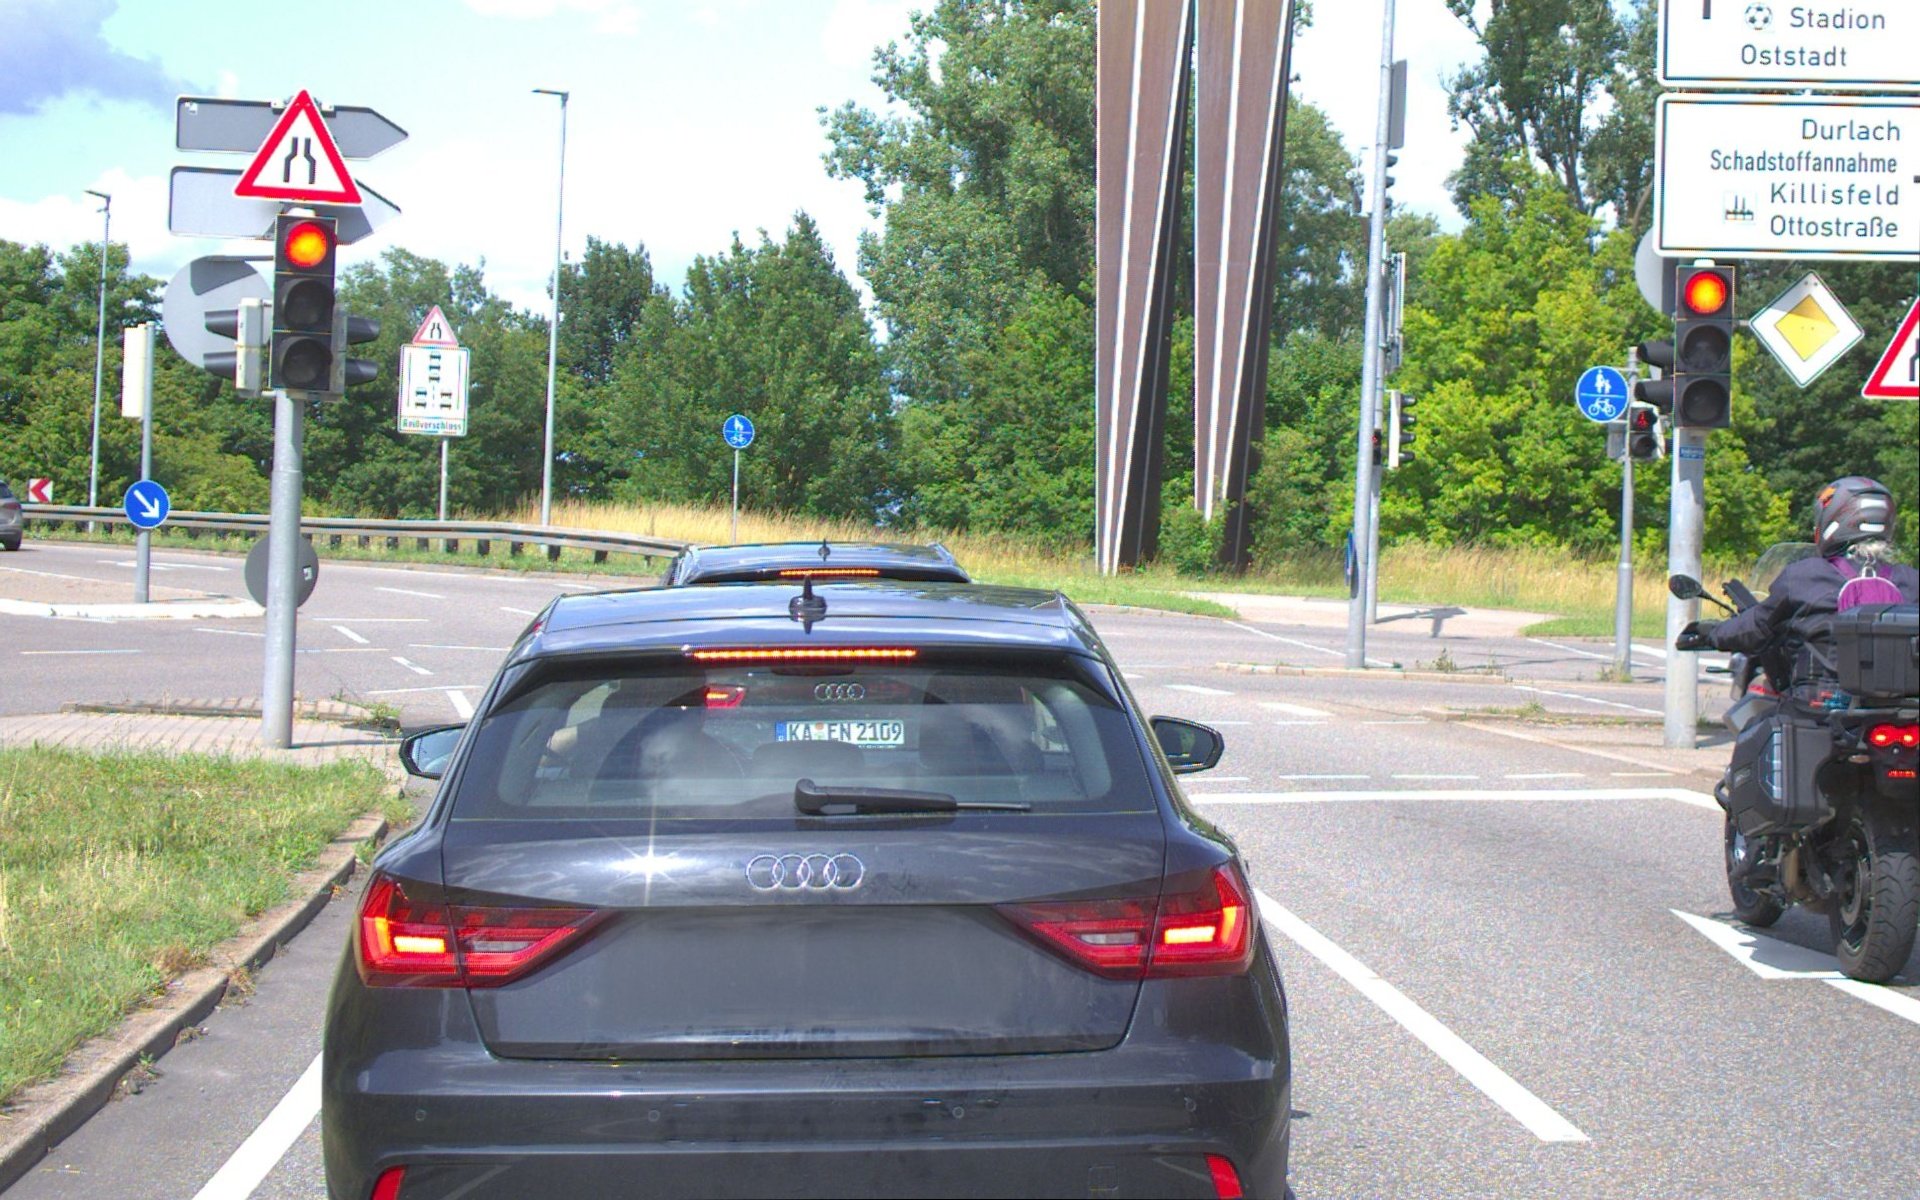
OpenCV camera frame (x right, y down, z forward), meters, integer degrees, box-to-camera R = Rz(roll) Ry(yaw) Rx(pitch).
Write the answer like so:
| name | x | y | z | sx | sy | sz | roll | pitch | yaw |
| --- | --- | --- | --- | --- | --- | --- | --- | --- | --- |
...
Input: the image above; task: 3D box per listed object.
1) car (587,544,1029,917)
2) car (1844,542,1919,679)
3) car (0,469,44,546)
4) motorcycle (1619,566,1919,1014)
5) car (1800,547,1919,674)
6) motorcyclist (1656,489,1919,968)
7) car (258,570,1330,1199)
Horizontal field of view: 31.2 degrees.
| name | x | y | z | sx | sy | sz | roll | pitch | yaw |
| --- | --- | --- | --- | --- | --- | --- | --- | --- | --- |
| car | -0.746 | 0.476 | 15.353 | 1.726 | 1.418 | 3.845 | 0 | 1 | -5 |
| car | 12.653 | 0.167 | 39.896 | 4.268 | 1.539 | 1.737 | 2 | 1 | -1 |
| car | -20.352 | -1.922 | 69.871 | 1.994 | 1.491 | 4.119 | 1 | 1 | -36 |
| motorcycle | 3.037 | 0.595 | 12.052 | 0.936 | 1.378 | 2.370 | 1 | 1 | -1 |
| car | 13.363 | 0.172 | 43.752 | 4.847 | 1.539 | 1.737 | 2 | 1 | -1 |
| motorcyclist | 3.044 | 0.423 | 12.037 | 0.936 | 1.585 | 1.083 | 1 | 1 | -1 |
| car | -0.289 | 0.667 | 7.554 | 1.726 | 1.399 | 4.000 | 0 | 1 | -1 |
